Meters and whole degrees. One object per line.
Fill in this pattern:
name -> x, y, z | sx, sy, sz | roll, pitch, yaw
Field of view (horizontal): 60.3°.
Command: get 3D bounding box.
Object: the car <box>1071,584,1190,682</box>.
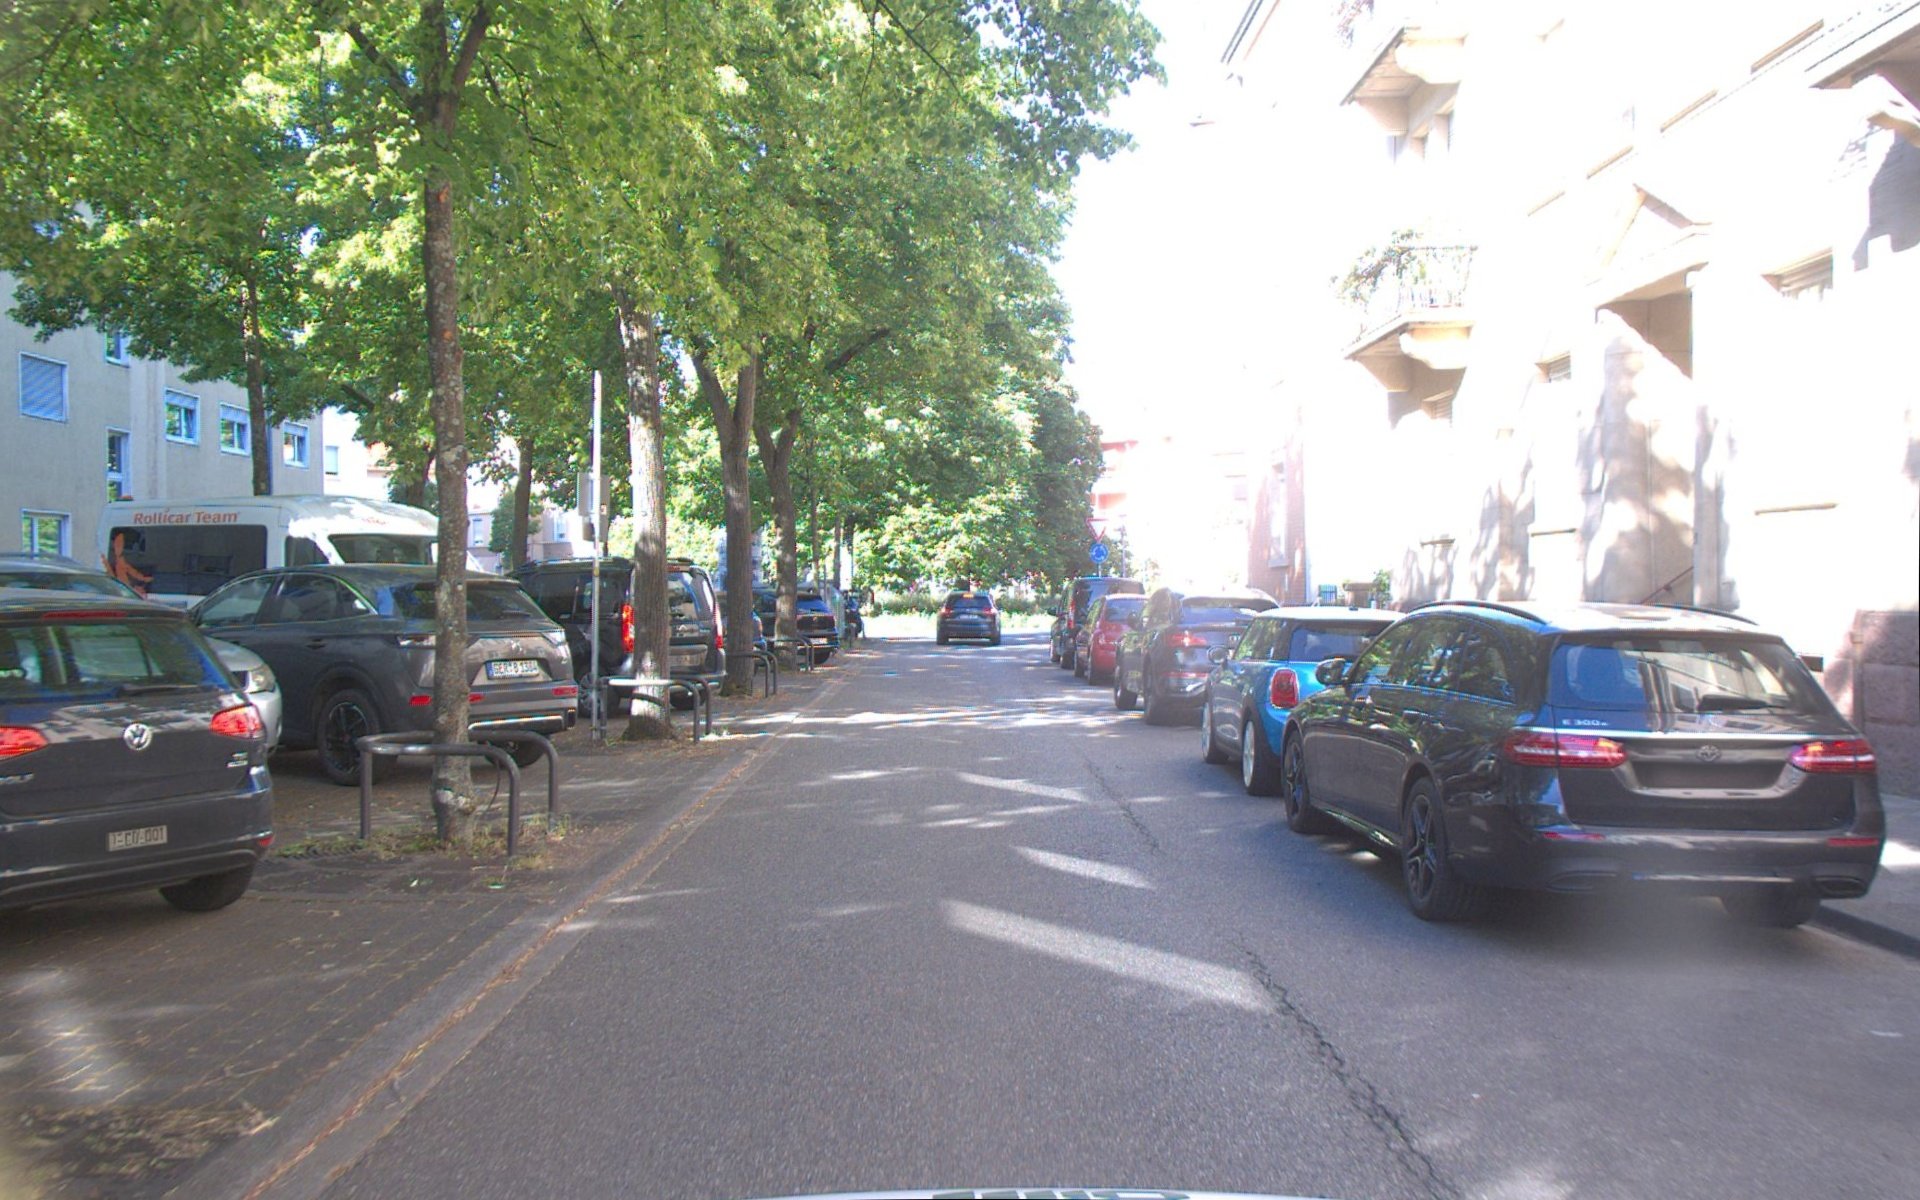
car -> 2.976, 0.530, 29.590 | 1.612, 1.564, 4.000 | 2, 1, -1

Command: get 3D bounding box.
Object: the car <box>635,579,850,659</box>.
car -> -4.158, 0.363, 32.061 | 4.009, 1.492, 1.865 | 0, 0, -5

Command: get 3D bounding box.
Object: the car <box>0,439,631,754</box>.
car -> -6.882, 0.031, 17.797 | 5.937, 2.668, 2.457 | -5, -1, 15

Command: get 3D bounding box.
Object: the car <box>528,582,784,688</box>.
car -> -4.795, 0.545, 26.276 | 3.646, 1.609, 1.638 | -1, 1, 12

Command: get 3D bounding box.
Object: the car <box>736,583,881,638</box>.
car -> -4.306, 0.293, 46.762 | 4.065, 1.507, 1.767 | -1, 0, 40

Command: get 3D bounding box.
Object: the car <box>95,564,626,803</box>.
car -> -4.866, 0.554, 13.312 | 4.180, 1.670, 1.653 | 1, 1, 28

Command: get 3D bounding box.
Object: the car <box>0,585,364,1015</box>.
car -> -4.779, 0.712, 7.432 | 4.018, 1.507, 1.729 | -1, 0, 29

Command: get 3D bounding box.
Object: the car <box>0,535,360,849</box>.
car -> -6.420, 0.554, 11.356 | 4.294, 1.808, 1.897 | -1, 0, 27

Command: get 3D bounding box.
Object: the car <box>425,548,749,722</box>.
car -> -4.590, 0.378, 20.193 | 3.774, 1.921, 1.837 | 0, 1, 36

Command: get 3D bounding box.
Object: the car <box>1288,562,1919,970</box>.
car -> 3.063, 0.637, 8.868 | 1.768, 1.591, 4.321 | -2, 1, 1

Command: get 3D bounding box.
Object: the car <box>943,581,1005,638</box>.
car -> 0.366, 0.236, 47.147 | 1.679, 1.509, 4.144 | -1, 1, -1

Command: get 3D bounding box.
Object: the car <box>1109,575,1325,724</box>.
car -> 3.105, 0.530, 20.916 | 1.827, 1.672, 4.489 | 0, 1, -3

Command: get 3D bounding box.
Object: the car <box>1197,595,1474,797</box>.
car -> 3.031, 0.705, 14.037 | 1.557, 1.439, 3.632 | 0, 1, 1

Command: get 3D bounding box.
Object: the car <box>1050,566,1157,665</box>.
car -> 2.954, 0.272, 34.854 | 1.765, 1.903, 4.272 | 2, 1, -1
